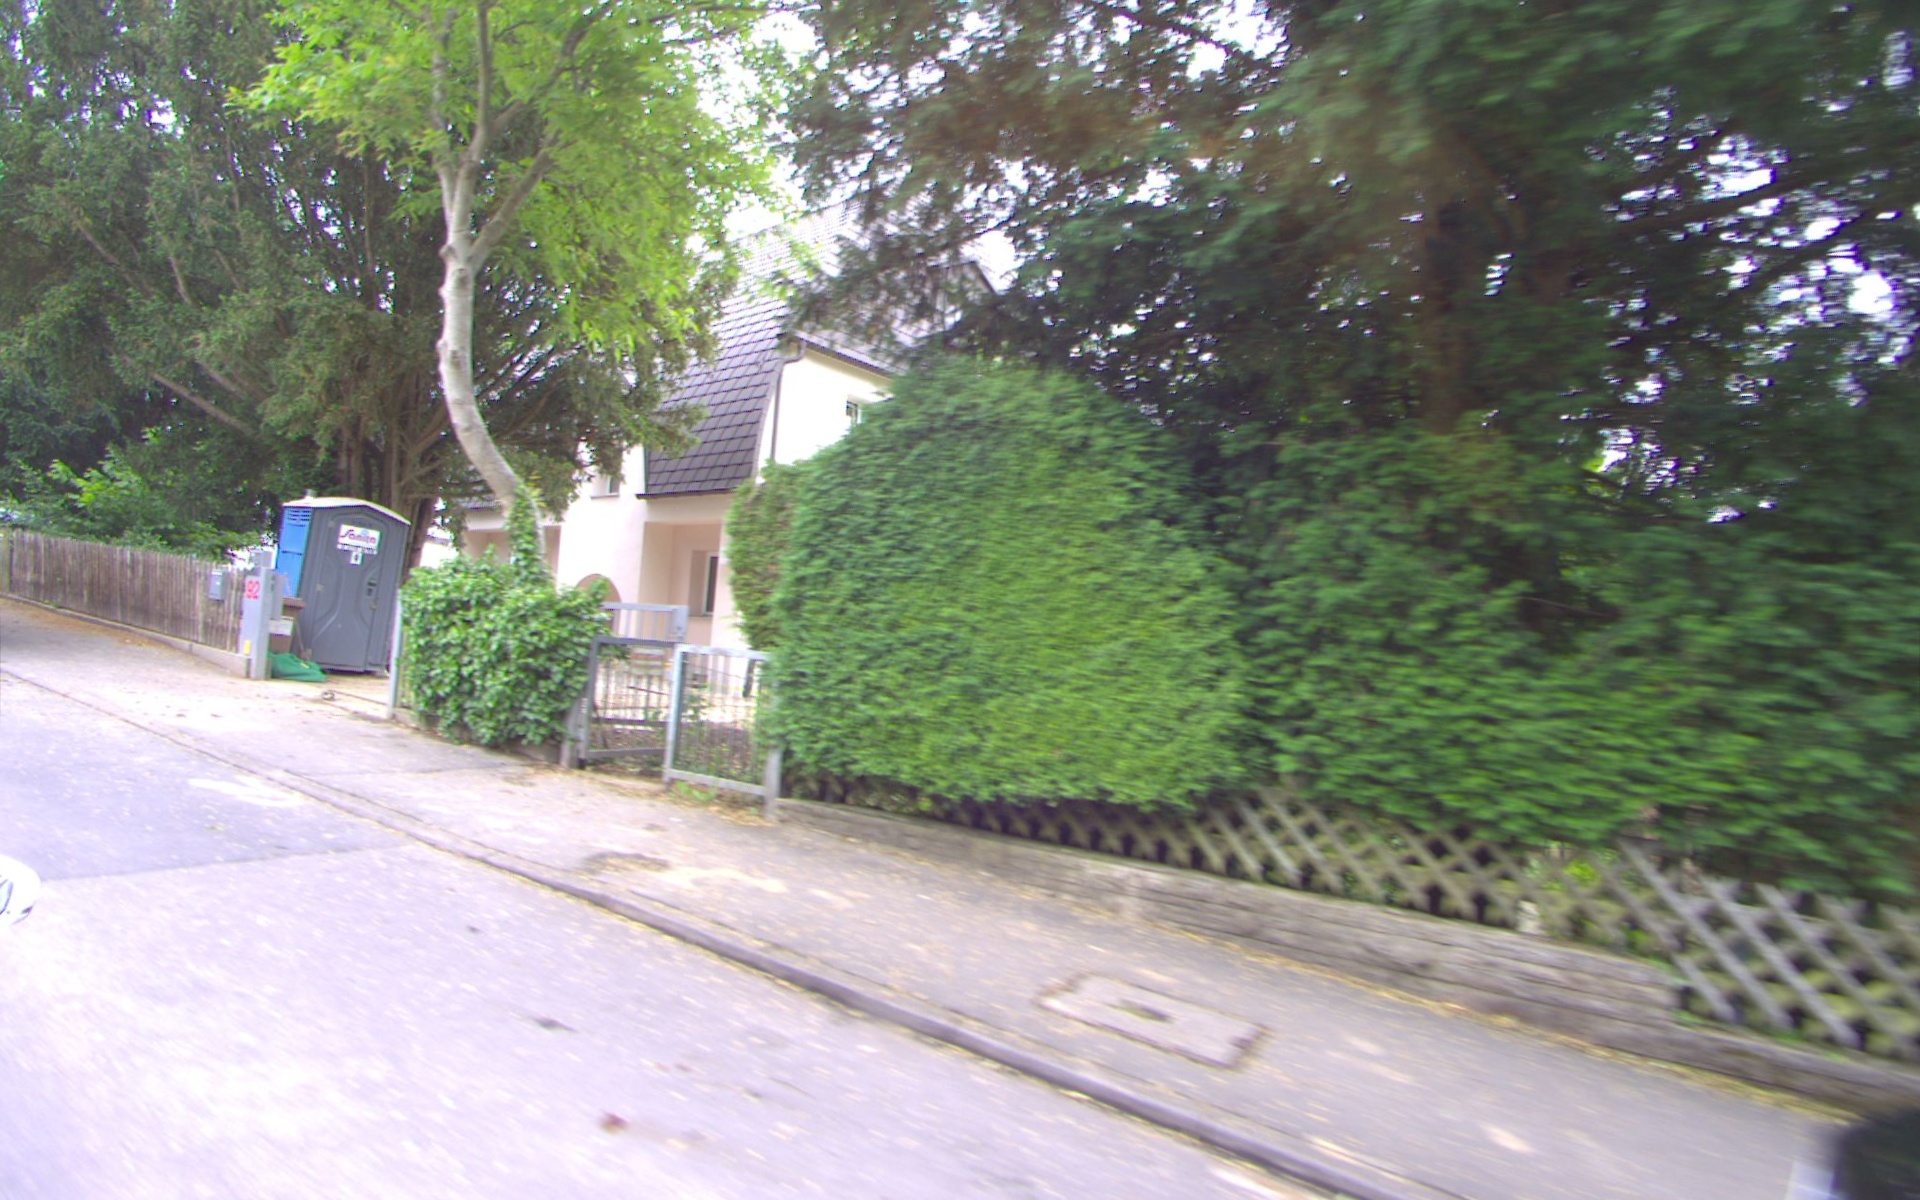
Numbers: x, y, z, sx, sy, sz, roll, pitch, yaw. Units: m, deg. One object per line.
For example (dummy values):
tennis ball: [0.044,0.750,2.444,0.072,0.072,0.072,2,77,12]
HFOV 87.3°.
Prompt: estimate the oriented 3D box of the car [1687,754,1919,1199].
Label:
car: [3.229,1.186,0.412,4.584,1.440,1.655,6,-3,32]

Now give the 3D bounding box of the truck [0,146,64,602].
truck: [-12.599,-2.237,10.545,7.070,4.802,2.529,6,-2,33]
